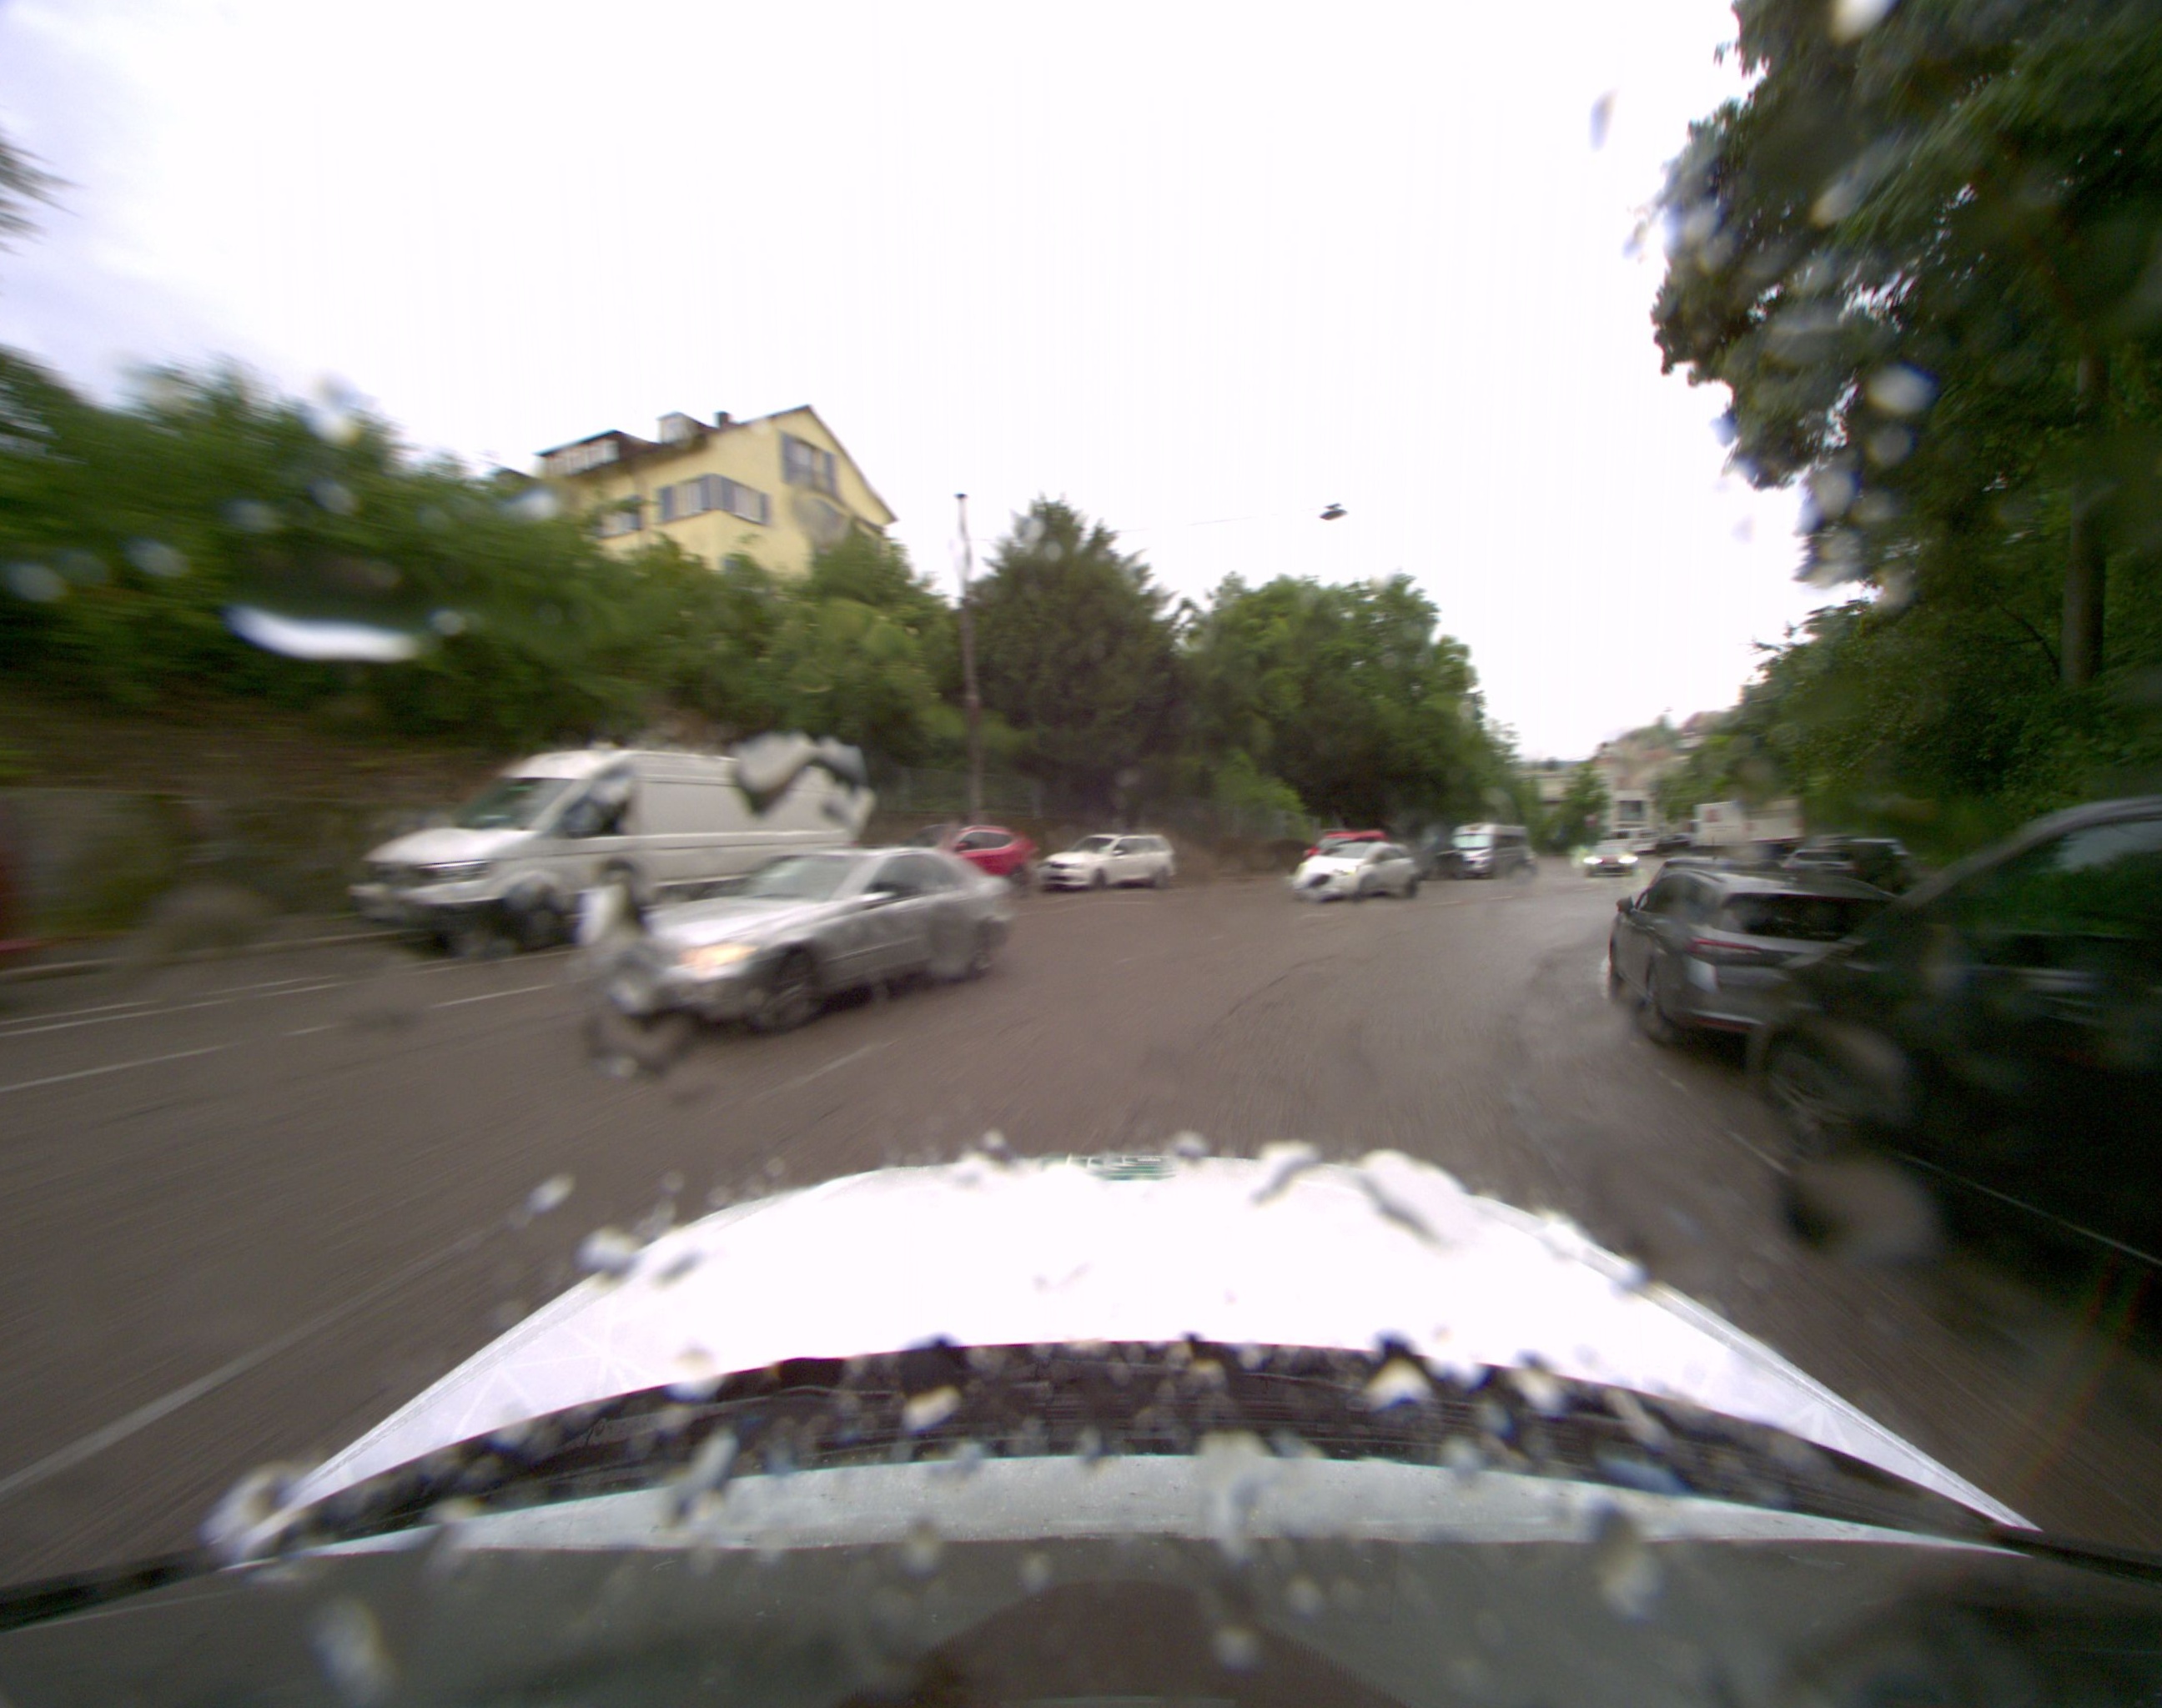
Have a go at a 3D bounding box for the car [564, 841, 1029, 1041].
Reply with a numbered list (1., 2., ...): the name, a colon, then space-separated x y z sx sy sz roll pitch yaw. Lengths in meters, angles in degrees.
1. car: -2.342 0.567 8.020 1.768 1.385 4.364 1 1 25

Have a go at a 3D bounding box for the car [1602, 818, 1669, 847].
1. car: 41.738 -1.561 61.450 1.870 2.013 4.692 -2 0 1

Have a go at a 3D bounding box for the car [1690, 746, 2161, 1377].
1. car: 4.232 0.644 2.302 1.981 1.886 5.052 2 1 11

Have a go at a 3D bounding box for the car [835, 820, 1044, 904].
1. car: -2.883 0.084 17.558 1.758 1.585 4.462 2 2 36

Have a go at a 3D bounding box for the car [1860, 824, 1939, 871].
1. car: 27.200 -0.241 27.120 1.739 1.400 4.120 0 2 45

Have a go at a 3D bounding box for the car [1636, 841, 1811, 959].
1. car: 10.336 0.602 13.006 3.766 1.488 1.612 -2 4 -43

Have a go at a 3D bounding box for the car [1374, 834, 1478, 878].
1. car: 13.944 0.022 32.851 4.418 1.619 1.977 -2 2 -38

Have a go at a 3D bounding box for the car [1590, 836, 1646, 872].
1. car: 24.754 -0.038 37.465 1.849 1.516 4.513 -2 0 36

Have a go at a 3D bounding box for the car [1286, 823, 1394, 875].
1. car: 9.386 -0.174 29.371 4.158 1.768 1.735 0 0 -40

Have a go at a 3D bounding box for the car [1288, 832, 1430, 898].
1. car: 7.183 0.205 20.896 4.054 1.495 1.589 -2 3 -40

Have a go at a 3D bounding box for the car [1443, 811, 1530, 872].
1. car: 18.650 -0.589 37.277 2.054 2.549 6.387 -2 0 40

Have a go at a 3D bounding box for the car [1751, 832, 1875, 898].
1. car: 18.035 0.200 20.019 3.840 1.389 1.577 -3 4 -38

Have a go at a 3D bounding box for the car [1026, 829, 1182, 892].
1. car: 0.699 0.090 21.781 1.722 1.478 4.223 4 4 45

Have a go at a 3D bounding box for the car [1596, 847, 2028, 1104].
1. car: 6.401 0.775 7.912 1.884 1.487 4.905 3 3 27

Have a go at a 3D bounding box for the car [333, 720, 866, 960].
1. car: -6.255 -0.257 12.096 2.016 2.530 6.863 1 2 25

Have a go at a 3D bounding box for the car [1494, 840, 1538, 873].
1. car: 23.011 0.128 42.979 1.786 1.583 4.050 -4 -2 31

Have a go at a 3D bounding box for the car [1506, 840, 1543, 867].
1. car: 26.069 -0.061 47.890 1.735 1.456 4.072 -4 -1 28

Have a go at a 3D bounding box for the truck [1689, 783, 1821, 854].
1. truck: 39.286 -1.980 47.906 2.982 3.574 8.377 -5 -1 19

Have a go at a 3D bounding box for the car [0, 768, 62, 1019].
1. car: -9.377 0.336 4.145 1.982 1.875 4.835 1 1 9

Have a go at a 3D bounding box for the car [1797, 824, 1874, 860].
1. car: 34.740 -0.579 37.597 1.704 1.444 4.151 -3 0 31

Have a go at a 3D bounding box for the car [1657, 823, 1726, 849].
1. car: 41.186 -1.204 55.043 1.709 1.555 4.285 -5 0 7
